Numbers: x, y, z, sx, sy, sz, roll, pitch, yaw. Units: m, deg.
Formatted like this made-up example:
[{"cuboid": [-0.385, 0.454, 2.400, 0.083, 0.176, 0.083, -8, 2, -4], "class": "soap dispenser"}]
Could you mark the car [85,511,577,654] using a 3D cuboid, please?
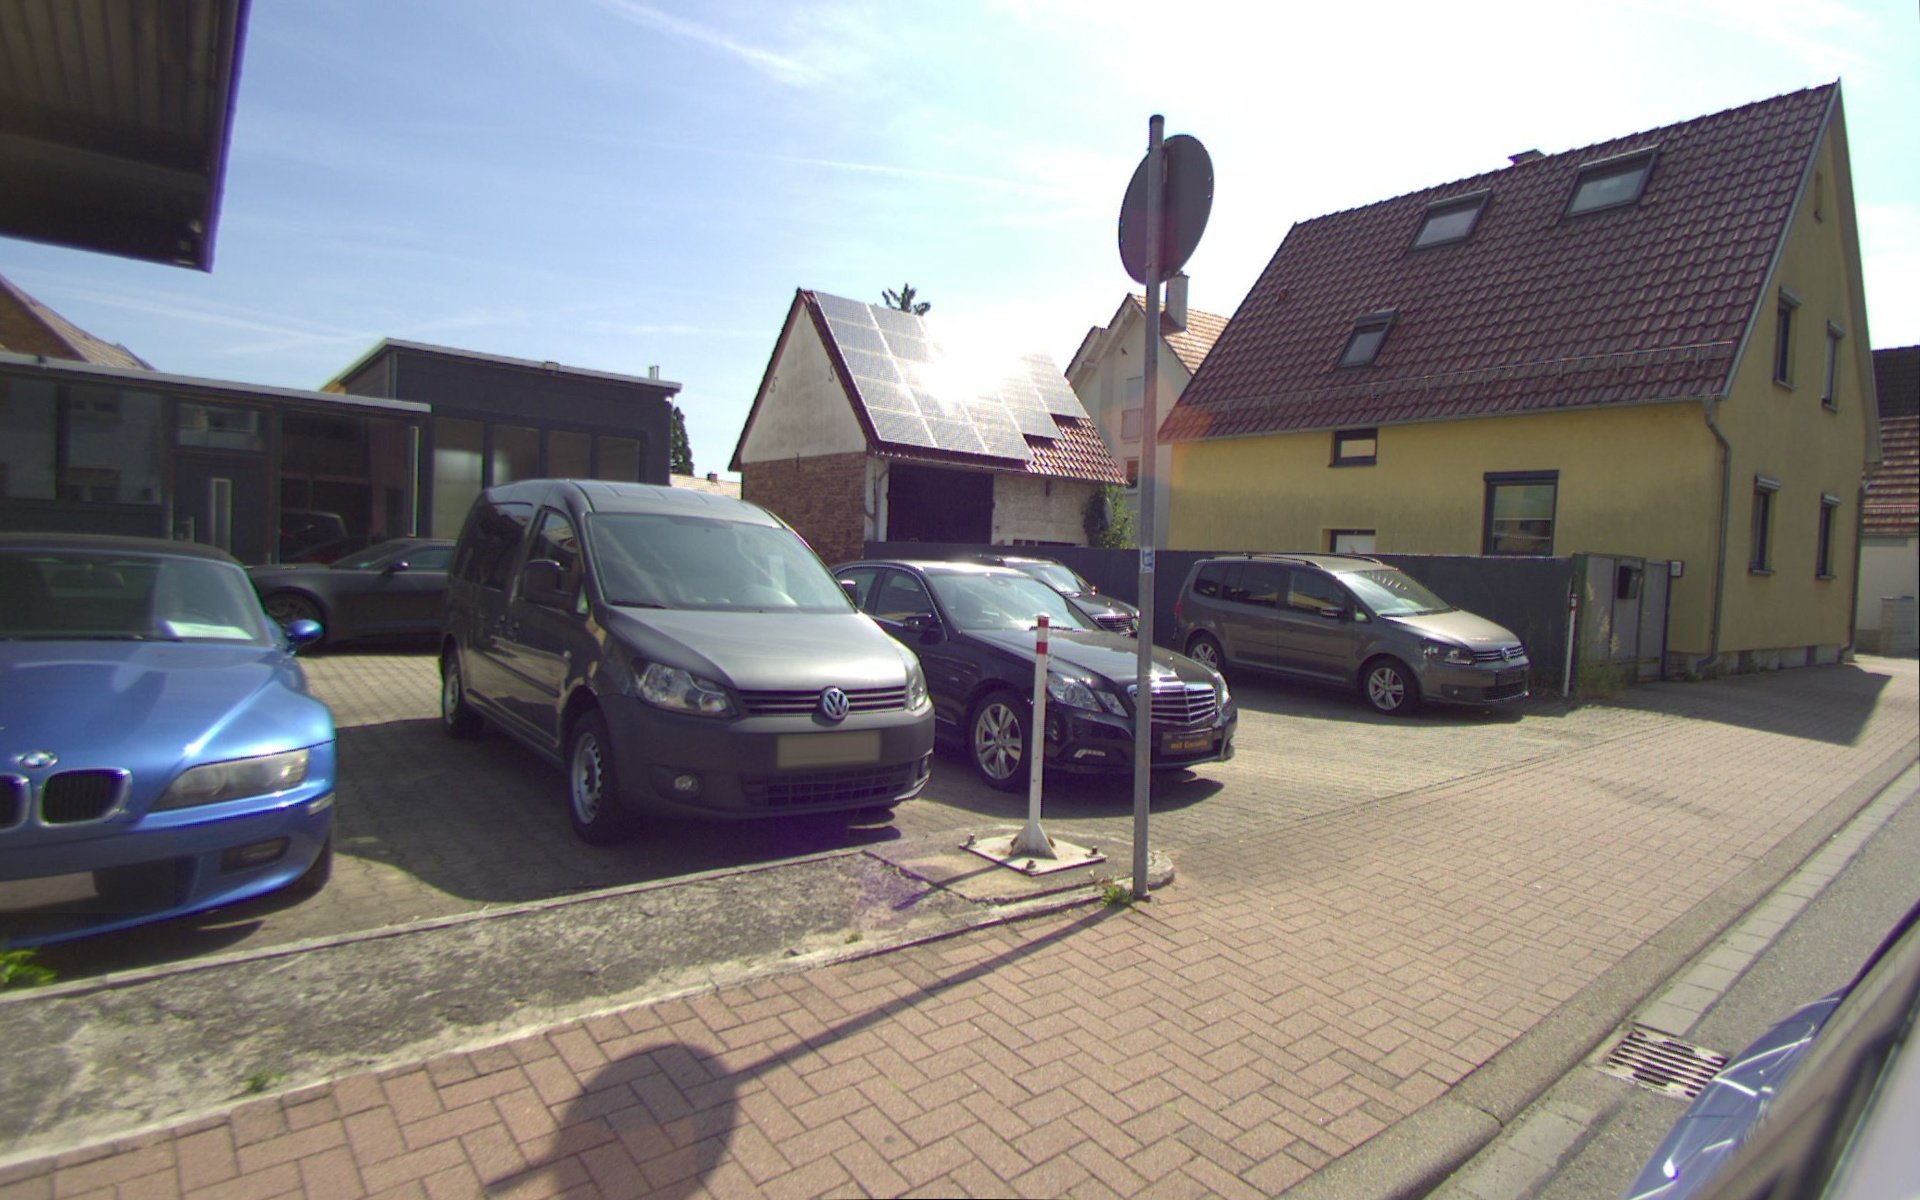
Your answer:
[{"cuboid": [-7.150, -0.234, 11.871, 4.669, 1.363, 1.761, -1, 3, -43], "class": "car"}]

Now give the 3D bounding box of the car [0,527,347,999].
[{"cuboid": [-4.075, 0.327, 4.473, 1.929, 1.283, 4.553, 0, 3, -37], "class": "car"}]

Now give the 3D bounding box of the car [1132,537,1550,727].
[{"cuboid": [4.137, 0.178, 11.750, 1.703, 1.766, 4.346, 0, 3, -33], "class": "car"}]

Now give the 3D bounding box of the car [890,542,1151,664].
[{"cuboid": [0.754, -0.081, 15.982, 1.947, 1.526, 4.564, -1, 4, -29], "class": "car"}]

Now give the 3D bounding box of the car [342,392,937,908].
[{"cuboid": [-2.299, 0.067, 6.043, 1.929, 1.832, 4.651, 2, 2, -37], "class": "car"}]

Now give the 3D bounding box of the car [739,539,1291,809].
[{"cuboid": [0.078, 0.313, 8.106, 1.875, 1.516, 4.650, 0, 2, -36], "class": "car"}]
